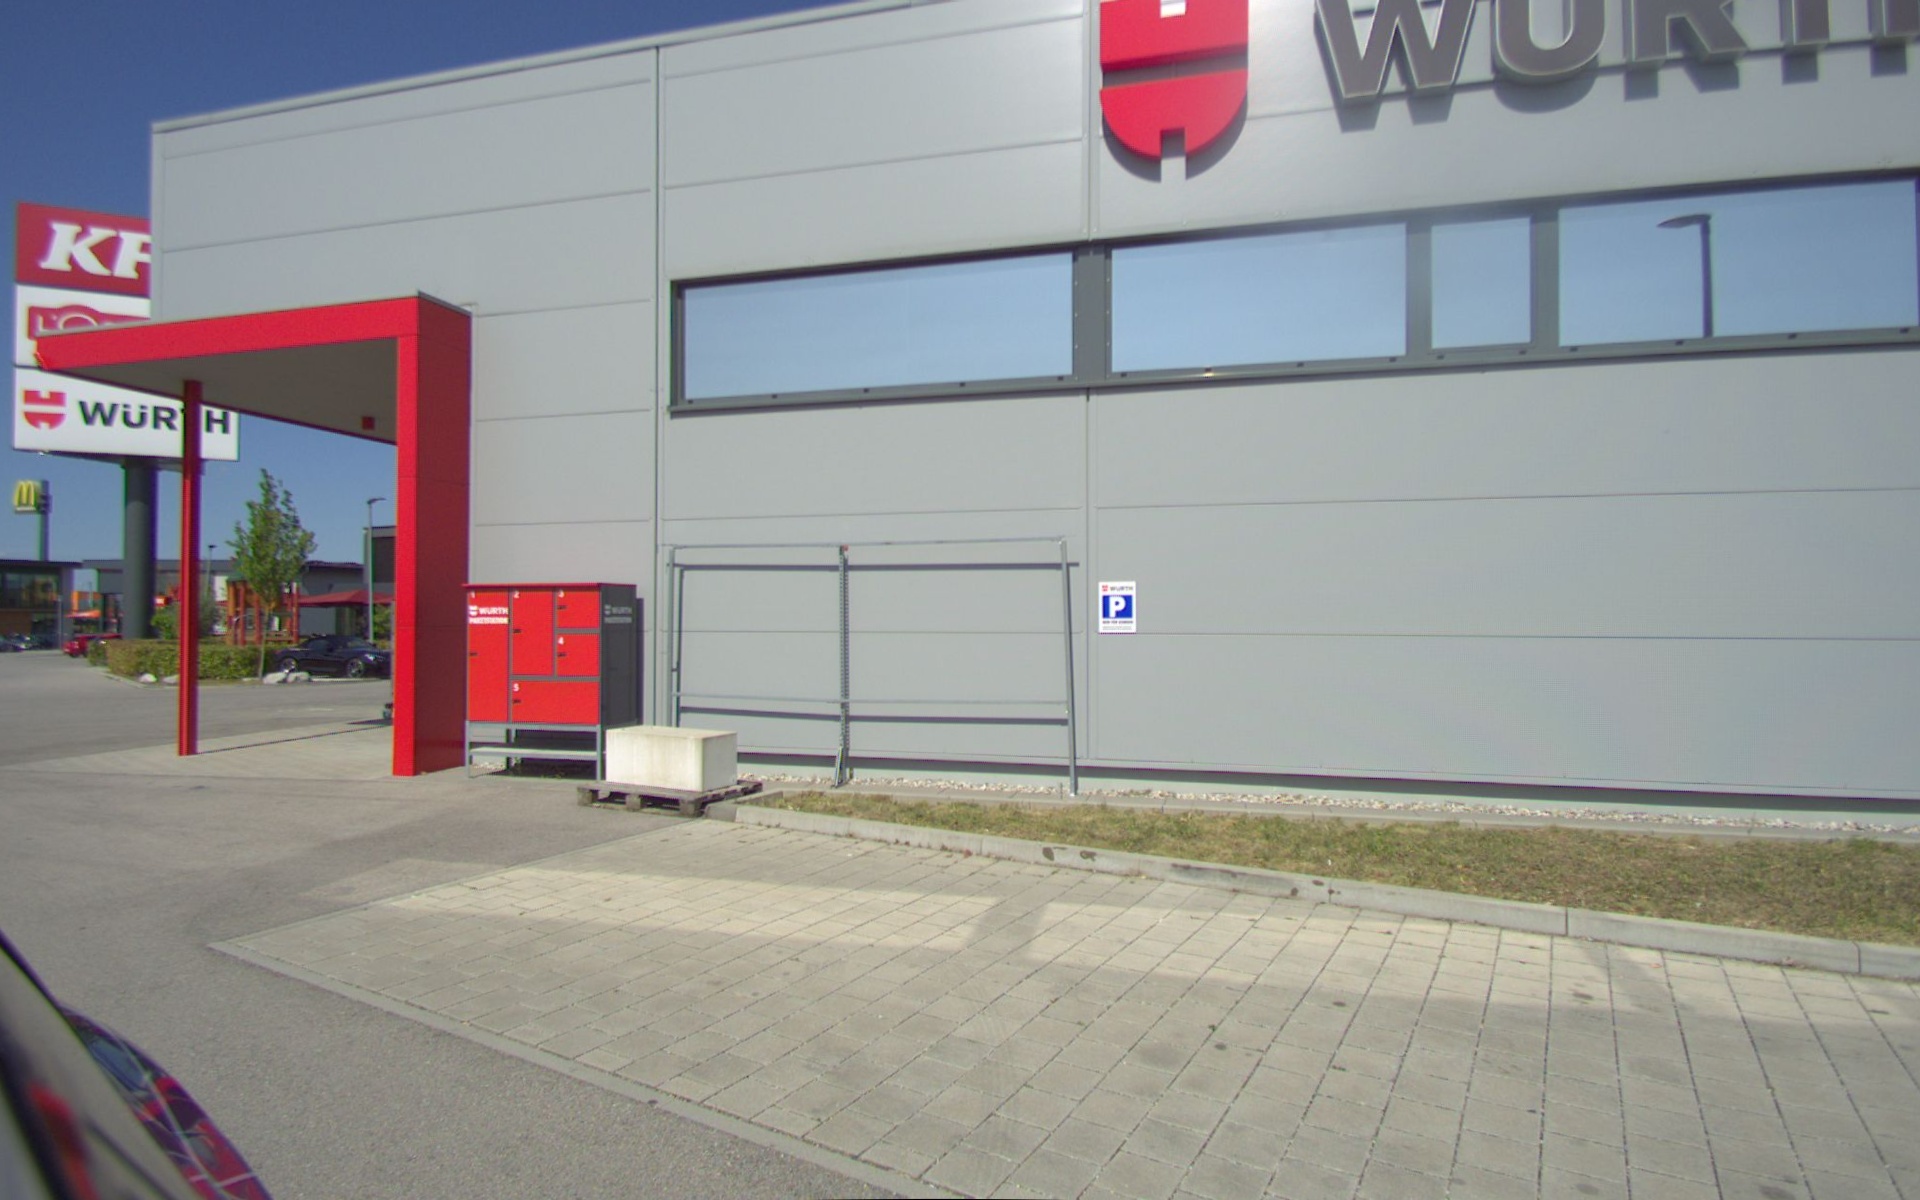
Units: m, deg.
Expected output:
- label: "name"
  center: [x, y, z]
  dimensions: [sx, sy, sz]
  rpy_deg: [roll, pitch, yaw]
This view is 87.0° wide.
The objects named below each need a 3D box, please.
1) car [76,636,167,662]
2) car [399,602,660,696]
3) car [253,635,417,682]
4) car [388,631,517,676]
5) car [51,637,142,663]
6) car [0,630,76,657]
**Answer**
- label: "car"
  center: [-52.980, 3.076, 64.037]
  dimensions: [1.868, 1.577, 4.062]
  rpy_deg: [-1, -2, 25]
- label: "car"
  center: [-9.661, 1.102, 22.799]
  dimensions: [5.330, 1.953, 2.021]
  rpy_deg: [-1, -2, 15]
- label: "car"
  center: [-18.724, 1.747, 30.375]
  dimensions: [4.113, 1.348, 1.823]
  rpy_deg: [-1, -2, 14]
- label: "car"
  center: [-17.581, 1.845, 35.078]
  dimensions: [3.883, 1.486, 1.792]
  rpy_deg: [-1, -2, 19]
- label: "car"
  center: [-55.485, 3.176, 65.077]
  dimensions: [1.868, 1.577, 4.062]
  rpy_deg: [-1, -2, 25]
- label: "car"
  center: [-76.147, 3.571, 83.508]
  dimensions: [1.988, 2.029, 4.447]
  rpy_deg: [-1, -1, 25]
